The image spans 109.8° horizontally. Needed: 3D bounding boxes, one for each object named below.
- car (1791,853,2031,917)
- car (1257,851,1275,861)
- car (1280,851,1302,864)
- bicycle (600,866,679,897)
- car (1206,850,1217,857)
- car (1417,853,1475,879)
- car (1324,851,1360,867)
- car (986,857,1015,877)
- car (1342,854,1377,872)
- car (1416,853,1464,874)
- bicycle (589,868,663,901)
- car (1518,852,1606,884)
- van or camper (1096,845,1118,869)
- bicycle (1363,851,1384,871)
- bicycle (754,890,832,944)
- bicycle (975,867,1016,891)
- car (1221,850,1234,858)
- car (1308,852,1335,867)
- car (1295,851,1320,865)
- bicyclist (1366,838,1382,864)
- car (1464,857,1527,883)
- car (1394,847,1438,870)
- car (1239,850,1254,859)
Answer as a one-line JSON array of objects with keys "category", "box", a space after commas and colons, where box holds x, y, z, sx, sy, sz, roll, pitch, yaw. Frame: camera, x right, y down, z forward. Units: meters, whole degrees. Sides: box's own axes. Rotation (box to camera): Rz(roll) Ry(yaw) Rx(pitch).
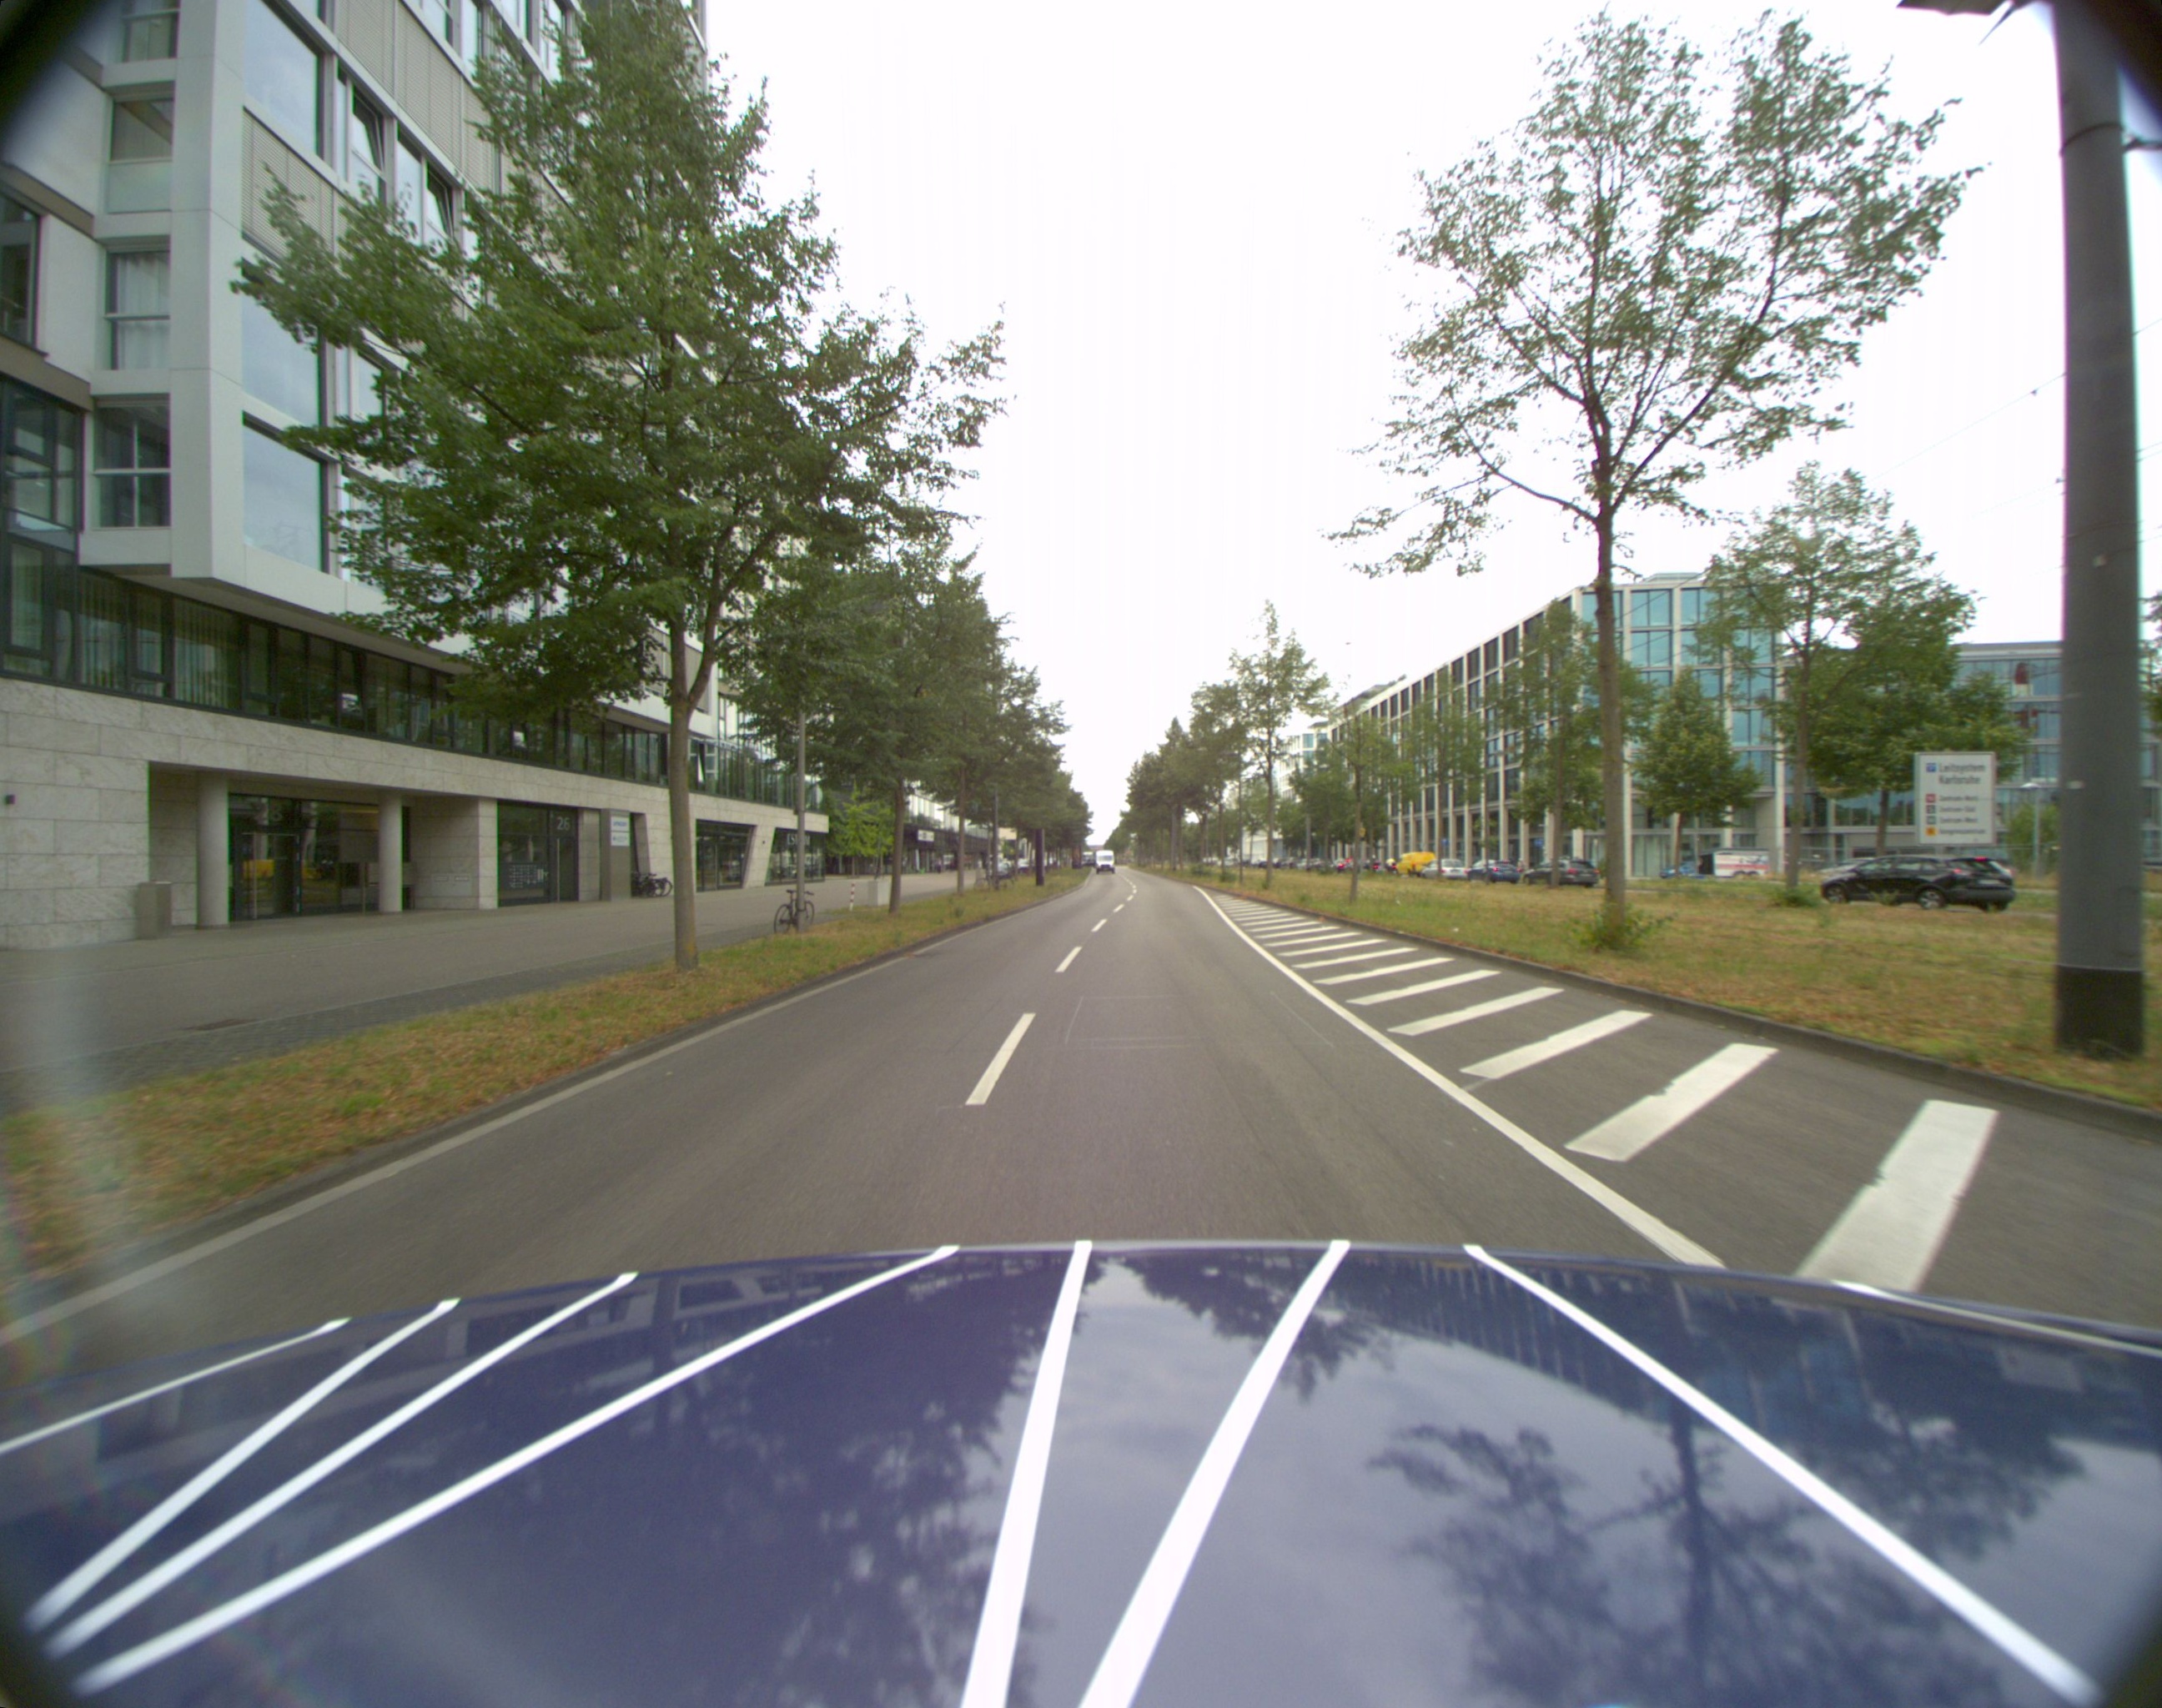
[{"category": "car", "box": [23.846, 0.813, 22.169, 1.832, 1.646, 4.691, -1, 0, -1]}, {"category": "car", "box": [26.235, 0.249, 107.856, 1.752, 1.448, 3.865, -1, 0, 3]}, {"category": "car", "box": [25.200, 0.395, 91.394, 1.752, 1.448, 3.865, -1, 0, 3]}, {"category": "bicycle", "box": [-17.674, 1.098, 30.484, 2.426, 1.170, 1.202, -1, 0, -6]}, {"category": "car", "box": [26.128, -0.077, 152.139, 1.752, 1.448, 3.865, -1, 0, 3]}, {"category": "car", "box": [21.958, 0.673, 45.852, 1.753, 1.488, 3.865, -1, 0, 1]}, {"category": "car", "box": [24.007, 0.474, 69.974, 1.998, 1.410, 4.000, -1, 0, 0]}, {"category": "car", "box": [-6.541, 1.015, 62.130, 1.954, 1.521, 4.000, -1, 0, 0]}, {"category": "car", "box": [23.709, 0.731, 64.868, 1.752, 1.448, 3.866, -1, 0, 4]}, {"category": "car", "box": [25.624, 0.670, 54.374, 1.752, 1.448, 3.866, -1, 0, 3]}, {"category": "bicycle", "box": [-17.497, 1.164, 29.255, 2.238, 1.170, 0.975, -1, 0, -6]}, {"category": "car", "box": [24.449, 0.663, 38.785, 1.753, 1.520, 4.279, -1, 0, -1]}, {"category": "van or camper", "box": [2.831, 0.323, 84.477, 2.183, 2.494, 6.339, -2, 0, 1]}, {"category": "bicycle", "box": [23.421, 0.555, 60.815, 0.711, 1.479, 2.358, -3, 0, 0]}, {"category": "bicycle", "box": [-5.810, 1.252, 15.461, 0.634, 0.871, 2.116, -3, 1, 3]}, {"category": "bicycle", "box": [-3.797, 1.095, 33.801, 1.790, 1.013, 0.422, -1, 1, -13]}, {"category": "car", "box": [26.497, 0.033, 137.405, 1.752, 1.448, 3.865, -1, 0, 3]}, {"category": "car", "box": [24.755, 0.525, 78.333, 1.752, 1.448, 3.865, -1, 0, 3]}, {"category": "car", "box": [25.176, 0.450, 84.437, 1.752, 1.448, 3.865, -1, 0, 3]}, {"category": "bicyclist", "box": [23.384, -0.246, 60.669, 0.742, 2.002, 0.995, -3, 1, -1]}, {"category": "car", "box": [24.796, 0.930, 45.566, 1.753, 1.488, 3.865, -1, 0, 1]}, {"category": "car", "box": [26.706, 0.335, 60.722, 1.956, 1.761, 4.446, -1, 0, 5]}, {"category": "car", "box": [26.950, 0.117, 123.661, 1.752, 1.448, 3.865, -1, 0, 3]}]
